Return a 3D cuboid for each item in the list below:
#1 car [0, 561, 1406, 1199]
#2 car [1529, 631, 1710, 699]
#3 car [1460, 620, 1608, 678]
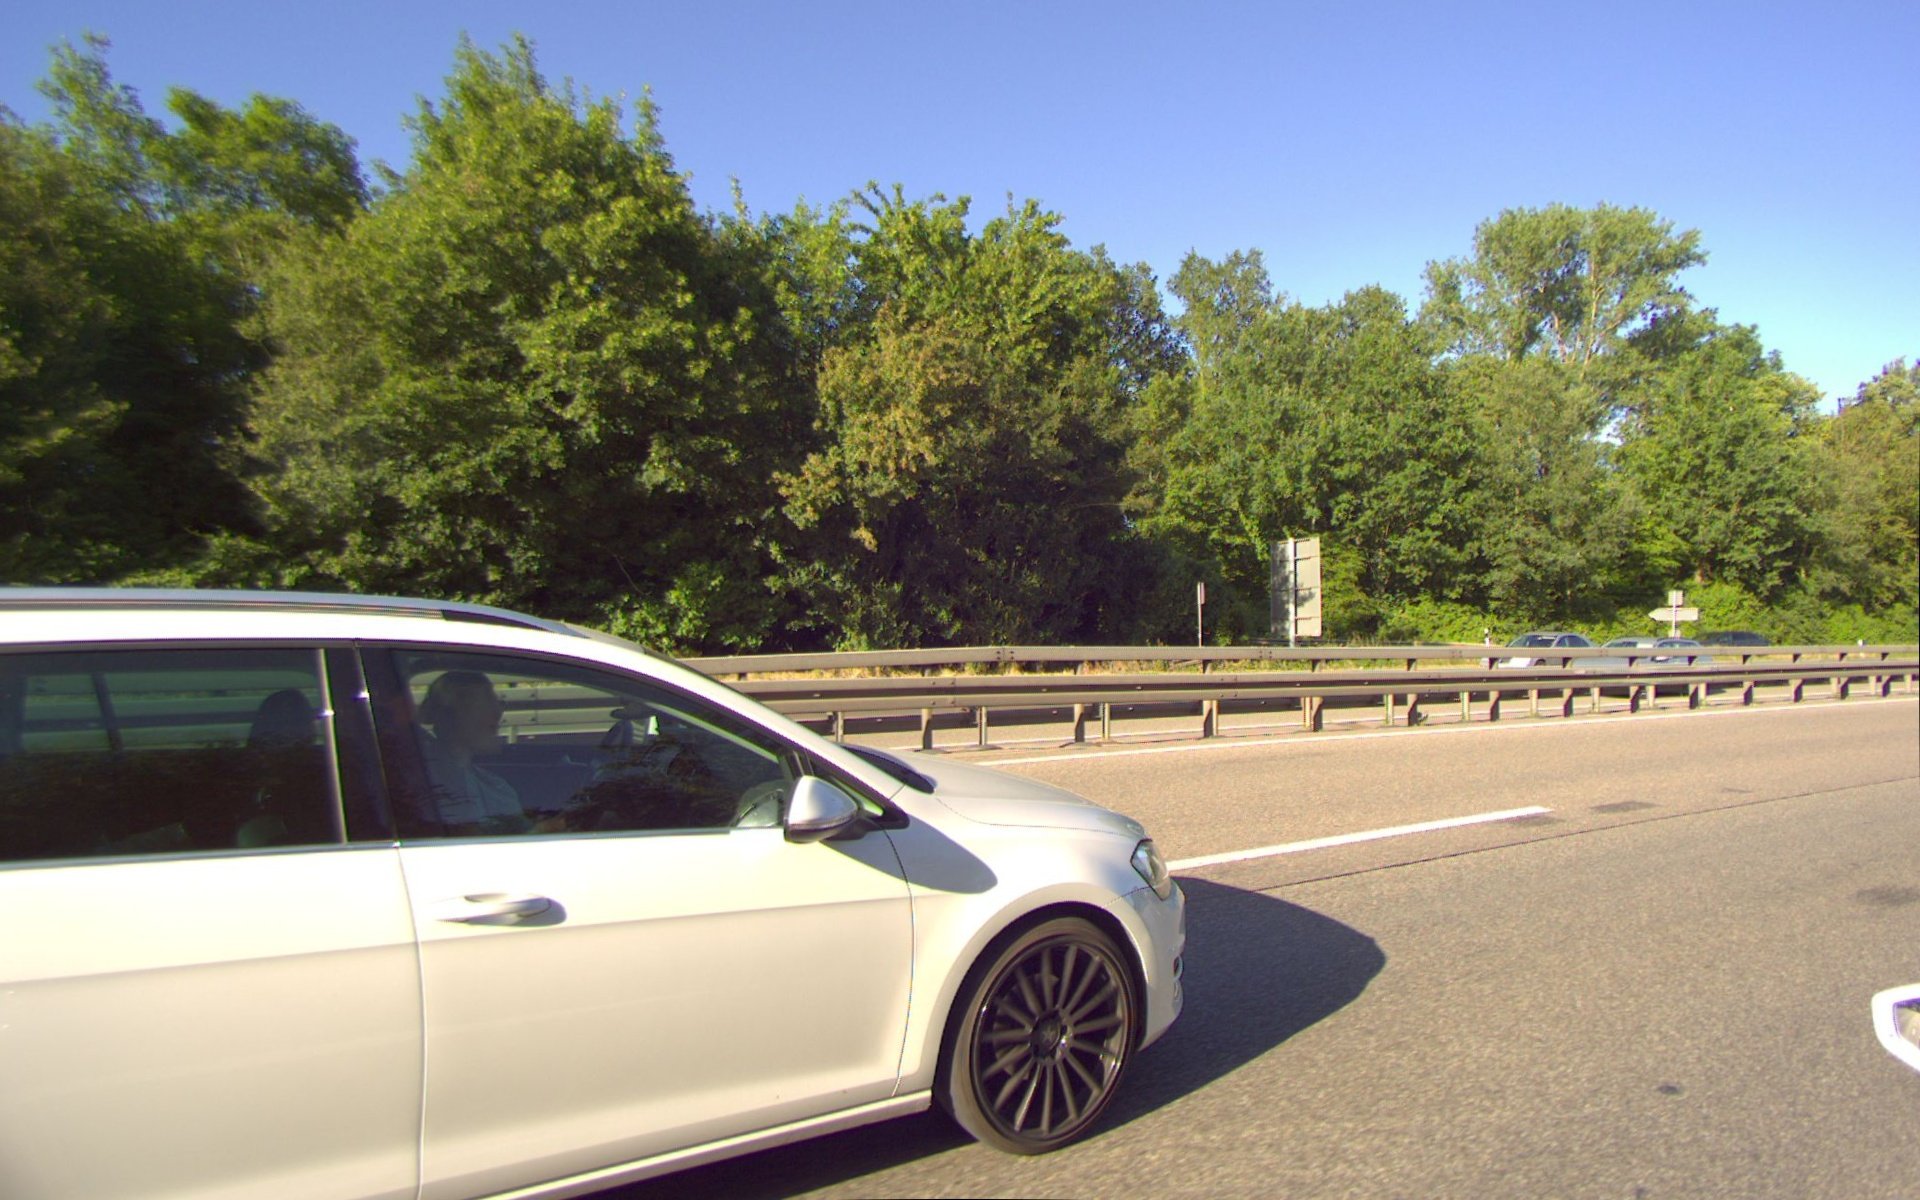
[{"bbox_3d":[-1.384,0.709,2.775,5.533,1.528,1.920,1,0,-30],"label":"car"},{"bbox_3d":[16.632,1.578,25.307,4.368,1.533,1.985,1,0,-28],"label":"car"},{"bbox_3d":[17.752,1.481,31.059,4.368,1.671,1.985,1,-1,-28],"label":"car"}]
